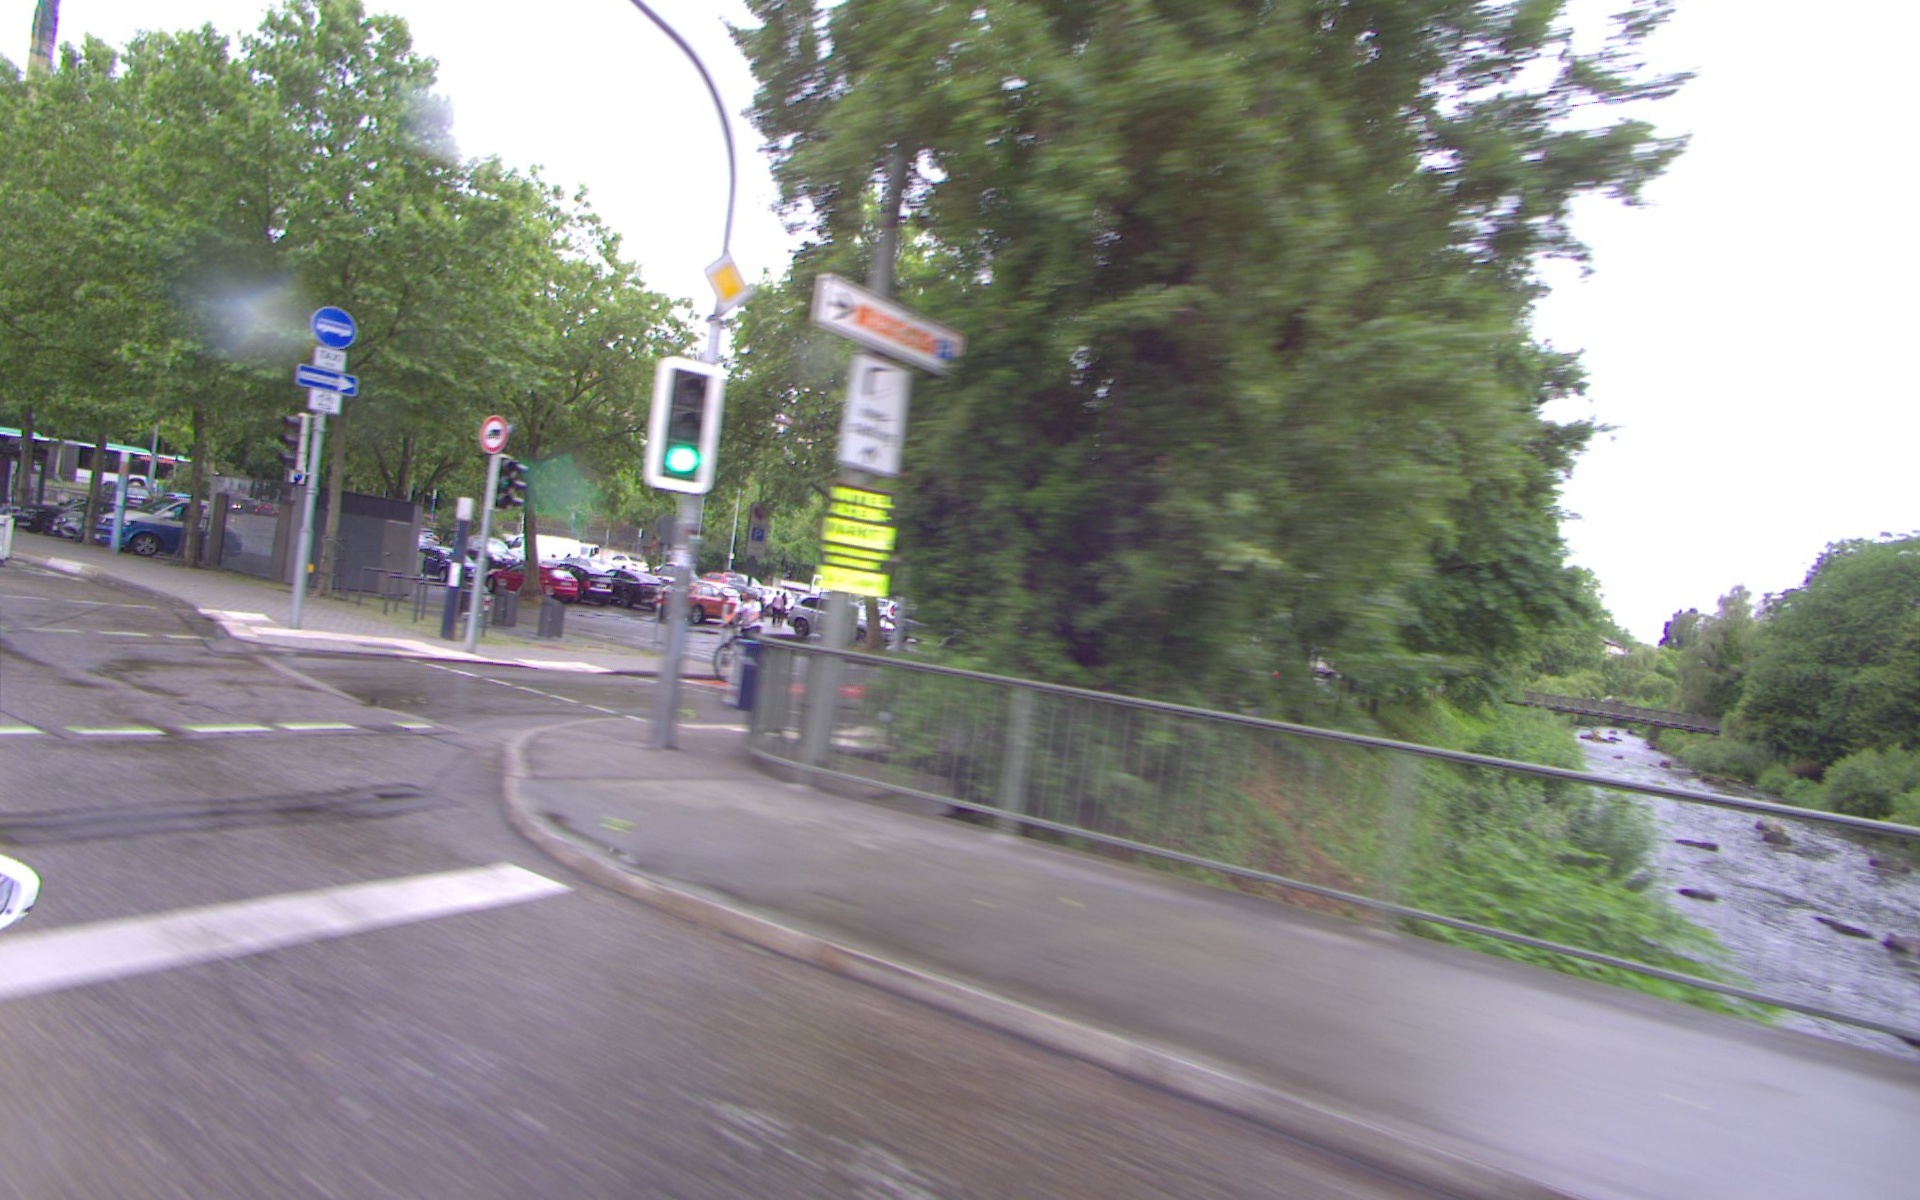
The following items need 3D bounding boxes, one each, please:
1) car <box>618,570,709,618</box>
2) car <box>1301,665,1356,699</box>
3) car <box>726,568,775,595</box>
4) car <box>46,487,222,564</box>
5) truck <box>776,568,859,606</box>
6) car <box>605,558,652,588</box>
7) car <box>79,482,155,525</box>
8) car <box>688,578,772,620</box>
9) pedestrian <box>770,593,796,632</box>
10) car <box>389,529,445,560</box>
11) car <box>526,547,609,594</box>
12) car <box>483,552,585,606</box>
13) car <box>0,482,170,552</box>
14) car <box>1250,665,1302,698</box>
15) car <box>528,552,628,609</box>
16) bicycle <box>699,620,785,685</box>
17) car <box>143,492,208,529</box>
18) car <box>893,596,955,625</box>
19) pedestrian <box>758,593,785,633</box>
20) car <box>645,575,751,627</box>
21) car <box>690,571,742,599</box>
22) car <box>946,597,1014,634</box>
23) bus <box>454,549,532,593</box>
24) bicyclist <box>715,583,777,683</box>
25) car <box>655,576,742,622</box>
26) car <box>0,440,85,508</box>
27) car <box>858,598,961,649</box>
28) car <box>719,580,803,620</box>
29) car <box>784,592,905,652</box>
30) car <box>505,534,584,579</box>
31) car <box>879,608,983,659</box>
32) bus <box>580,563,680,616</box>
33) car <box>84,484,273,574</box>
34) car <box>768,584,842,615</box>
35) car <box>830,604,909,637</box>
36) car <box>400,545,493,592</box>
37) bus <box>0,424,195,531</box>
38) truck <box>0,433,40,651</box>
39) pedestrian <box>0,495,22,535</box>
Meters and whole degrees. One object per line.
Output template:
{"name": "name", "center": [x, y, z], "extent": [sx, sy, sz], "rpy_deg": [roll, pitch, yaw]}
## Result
{"name": "car", "center": [-13.882, -0.275, 47.077], "extent": [3.935, 1.670, 1.822], "rpy_deg": [7, -1, 33]}
{"name": "car", "center": [21.657, 4.813, 59.036], "extent": [1.968, 1.564, 3.993], "rpy_deg": [7, -2, 34]}
{"name": "car", "center": [-15.652, -1.382, 74.999], "extent": [3.356, 1.534, 1.656], "rpy_deg": [8, -1, 37]}
{"name": "car", "center": [-27.392, -2.446, 33.487], "extent": [1.886, 1.667, 3.997], "rpy_deg": [8, -3, 33]}
{"name": "truck", "center": [-11.958, -1.086, 84.448], "extent": [6.408, 2.265, 2.448], "rpy_deg": [7, -1, 26]}
{"name": "car", "center": [-27.065, -2.210, 82.026], "extent": [3.947, 1.945, 1.881], "rpy_deg": [7, 0, 44]}
{"name": "car", "center": [-47.231, -5.400, 56.363], "extent": [4.156, 1.847, 1.834], "rpy_deg": [7, -1, 31]}
{"name": "car", "center": [-11.907, -0.050, 51.971], "extent": [3.934, 1.682, 1.809], "rpy_deg": [5, -4, 32]}
{"name": "pedestrian", "center": [-8.274, 0.599, 47.072], "extent": [0.818, 1.659, 0.748], "rpy_deg": [7, -3, 7]}
{"name": "car", "center": [-37.178, -3.806, 68.864], "extent": [3.547, 1.586, 1.634], "rpy_deg": [8, 0, 31]}
{"name": "car", "center": [-21.114, -1.600, 54.105], "extent": [3.934, 2.035, 1.999], "rpy_deg": [5, -4, 32]}
{"name": "car", "center": [-17.016, -0.832, 40.189], "extent": [3.572, 1.672, 1.599], "rpy_deg": [8, 1, 24]}
{"name": "car", "center": [-30.065, -2.822, 34.671], "extent": [1.715, 1.525, 3.997], "rpy_deg": [8, -3, 33]}
{"name": "car", "center": [18.735, 4.836, 59.526], "extent": [1.729, 1.564, 3.993], "rpy_deg": [7, -2, 34]}
{"name": "car", "center": [-16.198, -0.833, 42.600], "extent": [3.937, 1.924, 1.831], "rpy_deg": [5, -4, 34]}
{"name": "bicycle", "center": [-4.386, 1.090, 20.372], "extent": [0.510, 1.135, 1.953], "rpy_deg": [8, -2, 24]}
{"name": "car", "center": [-45.591, -5.224, 58.467], "extent": [3.589, 1.637, 1.684], "rpy_deg": [7, -1, 31]}
{"name": "car", "center": [-2.907, 0.846, 80.910], "extent": [4.511, 1.673, 1.886], "rpy_deg": [8, -1, 24]}
{"name": "pedestrian", "center": [-8.649, 0.606, 46.195], "extent": [0.818, 1.659, 0.748], "rpy_deg": [7, -3, 4]}
{"name": "car", "center": [-10.575, 0.084, 40.860], "extent": [1.774, 1.640, 4.132], "rpy_deg": [8, -1, 26]}
{"name": "car", "center": [-17.213, -1.061, 70.980], "extent": [3.356, 1.534, 1.656], "rpy_deg": [8, -1, 37]}
{"name": "car", "center": [1.483, 1.157, 75.645], "extent": [4.516, 2.037, 1.998], "rpy_deg": [7, -1, 29]}
{"name": "bus", "center": [-26.251, -1.642, 56.521], "extent": [3.935, 1.968, 1.998], "rpy_deg": [5, -4, 33]}
{"name": "bicyclist", "center": [-4.355, 0.680, 20.534], "extent": [0.739, 1.908, 0.645], "rpy_deg": [8, -1, 23]}
{"name": "car", "center": [-12.892, -0.048, 49.526], "extent": [3.935, 1.670, 1.822], "rpy_deg": [7, -1, 33]}
{"name": "car", "center": [-49.117, -6.742, 53.774], "extent": [4.156, 3.005, 2.077], "rpy_deg": [7, -1, 31]}
{"name": "car", "center": [-2.491, 1.138, 49.232], "extent": [4.516, 1.778, 1.935], "rpy_deg": [7, -1, 29]}
{"name": "car", "center": [-10.766, -0.001, 54.425], "extent": [4.130, 1.568, 1.810], "rpy_deg": [7, -1, 29]}
{"name": "car", "center": [-4.734, 0.881, 41.147], "extent": [4.506, 1.785, 1.805], "rpy_deg": [8, 0, 27]}
{"name": "car", "center": [-24.271, -2.539, 58.758], "extent": [3.993, 2.038, 1.998], "rpy_deg": [7, 0, 29]}
{"name": "car", "center": [-1.418, 1.634, 48.694], "extent": [4.516, 1.778, 1.935], "rpy_deg": [7, -1, 29]}
{"name": "bus", "center": [-14.501, -0.477, 44.179], "extent": [3.934, 1.744, 1.997], "rpy_deg": [7, -1, 32]}
{"name": "car", "center": [-23.941, -2.129, 30.962], "extent": [1.937, 1.946, 3.995], "rpy_deg": [8, -2, 33]}
{"name": "car", "center": [-10.690, -0.047, 69.282], "extent": [4.511, 1.453, 2.000], "rpy_deg": [8, -1, 24]}
{"name": "car", "center": [-5.770, 1.317, 64.439], "extent": [4.511, 1.453, 2.000], "rpy_deg": [8, -1, 24]}
{"name": "car", "center": [-21.873, -1.348, 42.794], "extent": [3.935, 1.451, 1.672], "rpy_deg": [7, 0, 33]}
{"name": "bus", "center": [-62.656, -8.724, 67.273], "extent": [3.048, 5.271, 17.950], "rpy_deg": [8, -2, 32]}
{"name": "truck", "center": [-11.510, -0.887, 10.168], "extent": [4.640, 2.049, 2.124], "rpy_deg": [8, -1, 35]}
{"name": "pedestrian", "center": [-35.278, -3.153, 37.179], "extent": [0.714, 1.373, 0.622], "rpy_deg": [7, -1, 32]}
